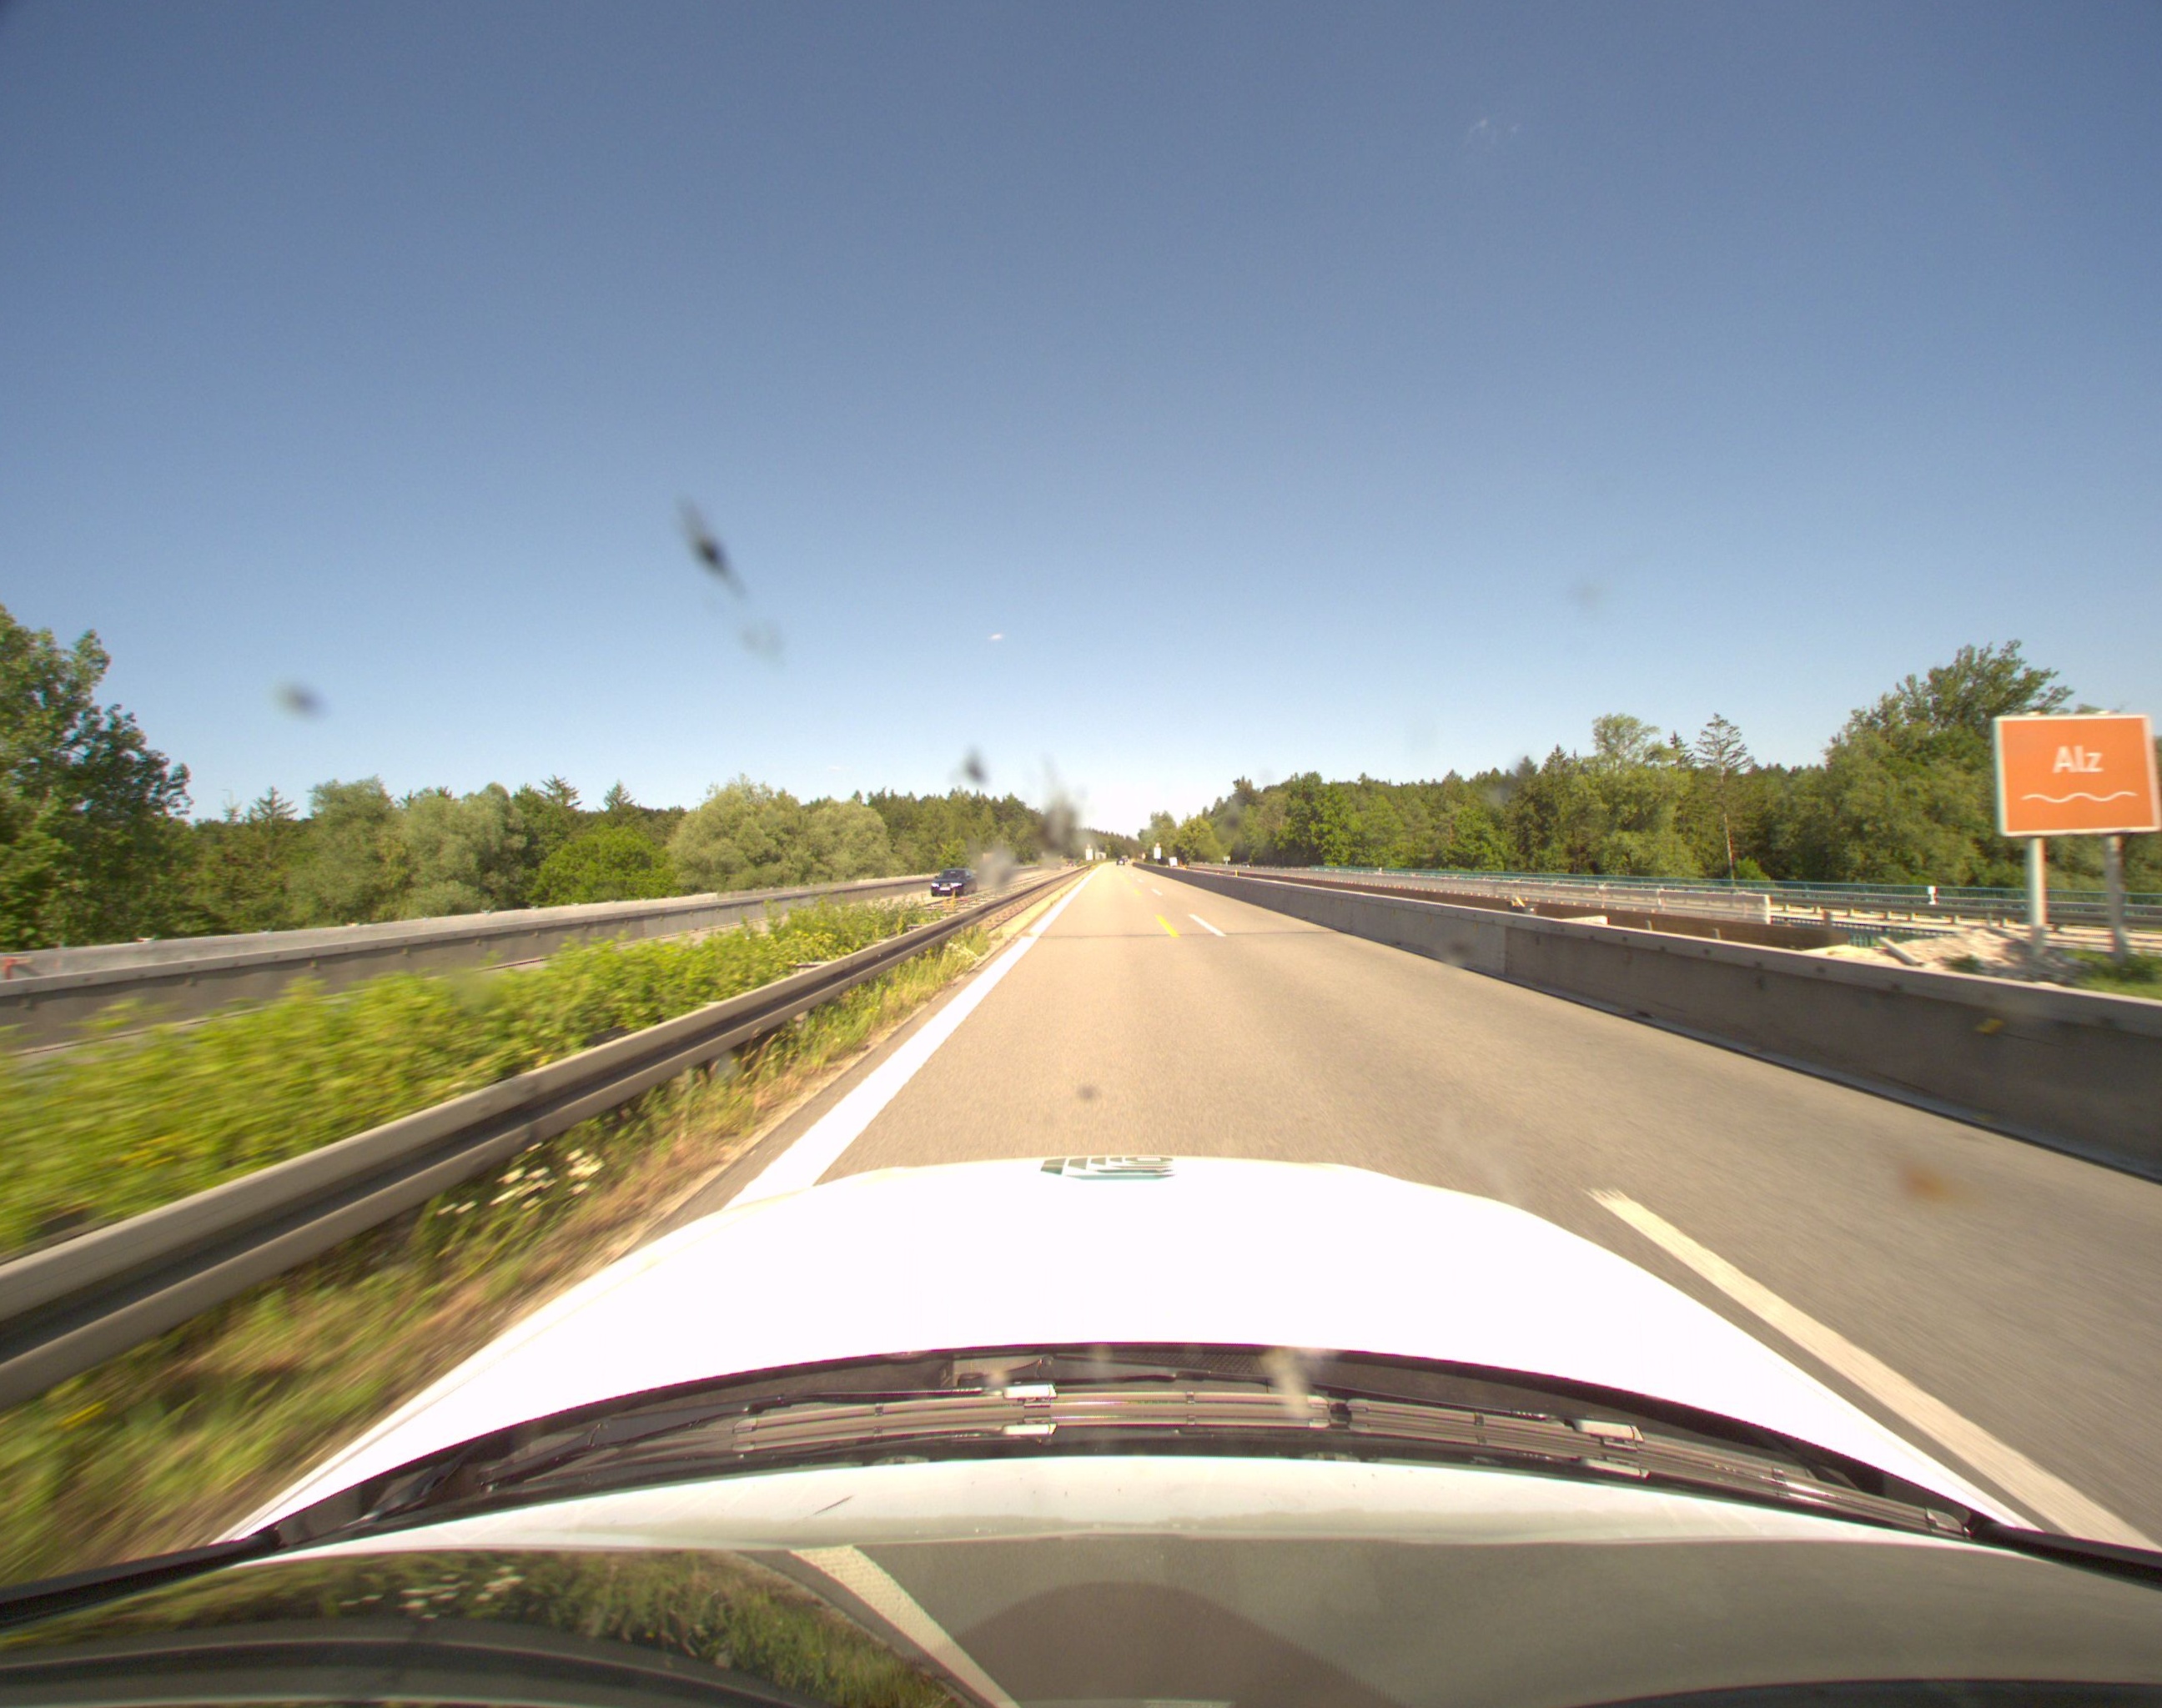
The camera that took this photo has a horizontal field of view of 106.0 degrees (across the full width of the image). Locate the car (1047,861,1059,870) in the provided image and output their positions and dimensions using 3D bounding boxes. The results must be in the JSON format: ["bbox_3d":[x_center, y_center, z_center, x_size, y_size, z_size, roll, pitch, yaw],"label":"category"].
[{"bbox_3d":[-4.880,1.966,141.502,1.737,1.466,4.911,-2,0,2],"label":"car"}]

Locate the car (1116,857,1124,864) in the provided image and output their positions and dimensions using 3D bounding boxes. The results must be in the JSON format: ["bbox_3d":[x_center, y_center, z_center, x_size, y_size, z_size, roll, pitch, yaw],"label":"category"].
[{"bbox_3d":[8.598,1.510,179.526,1.737,1.466,4.295,-2,0,2],"label":"car"}]

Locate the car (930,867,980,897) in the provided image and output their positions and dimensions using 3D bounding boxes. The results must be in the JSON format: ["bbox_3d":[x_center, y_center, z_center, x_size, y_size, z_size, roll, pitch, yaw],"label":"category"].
[{"bbox_3d":[-6.593,1.434,43.005,1.639,1.377,4.811,-2,0,3],"label":"car"}]

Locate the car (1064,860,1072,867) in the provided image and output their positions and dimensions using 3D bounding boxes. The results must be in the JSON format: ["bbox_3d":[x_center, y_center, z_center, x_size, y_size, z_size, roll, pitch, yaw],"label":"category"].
[{"bbox_3d":[-3.151,2.265,196.848,1.737,1.466,4.295,-2,0,2],"label":"car"}]

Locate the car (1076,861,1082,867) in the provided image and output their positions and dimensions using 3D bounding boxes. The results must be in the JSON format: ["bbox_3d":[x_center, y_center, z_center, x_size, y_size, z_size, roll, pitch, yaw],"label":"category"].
[{"bbox_3d":[-0.646,2.838,239.196,1.521,1.562,3.455,-4,-3,2],"label":"car"}]

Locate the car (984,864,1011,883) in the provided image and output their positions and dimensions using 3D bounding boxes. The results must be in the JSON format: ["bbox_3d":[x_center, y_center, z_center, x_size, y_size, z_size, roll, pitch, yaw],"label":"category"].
[{"bbox_3d":[-6.940,1.599,67.898,1.676,1.393,4.194,-2,0,2],"label":"car"}]
